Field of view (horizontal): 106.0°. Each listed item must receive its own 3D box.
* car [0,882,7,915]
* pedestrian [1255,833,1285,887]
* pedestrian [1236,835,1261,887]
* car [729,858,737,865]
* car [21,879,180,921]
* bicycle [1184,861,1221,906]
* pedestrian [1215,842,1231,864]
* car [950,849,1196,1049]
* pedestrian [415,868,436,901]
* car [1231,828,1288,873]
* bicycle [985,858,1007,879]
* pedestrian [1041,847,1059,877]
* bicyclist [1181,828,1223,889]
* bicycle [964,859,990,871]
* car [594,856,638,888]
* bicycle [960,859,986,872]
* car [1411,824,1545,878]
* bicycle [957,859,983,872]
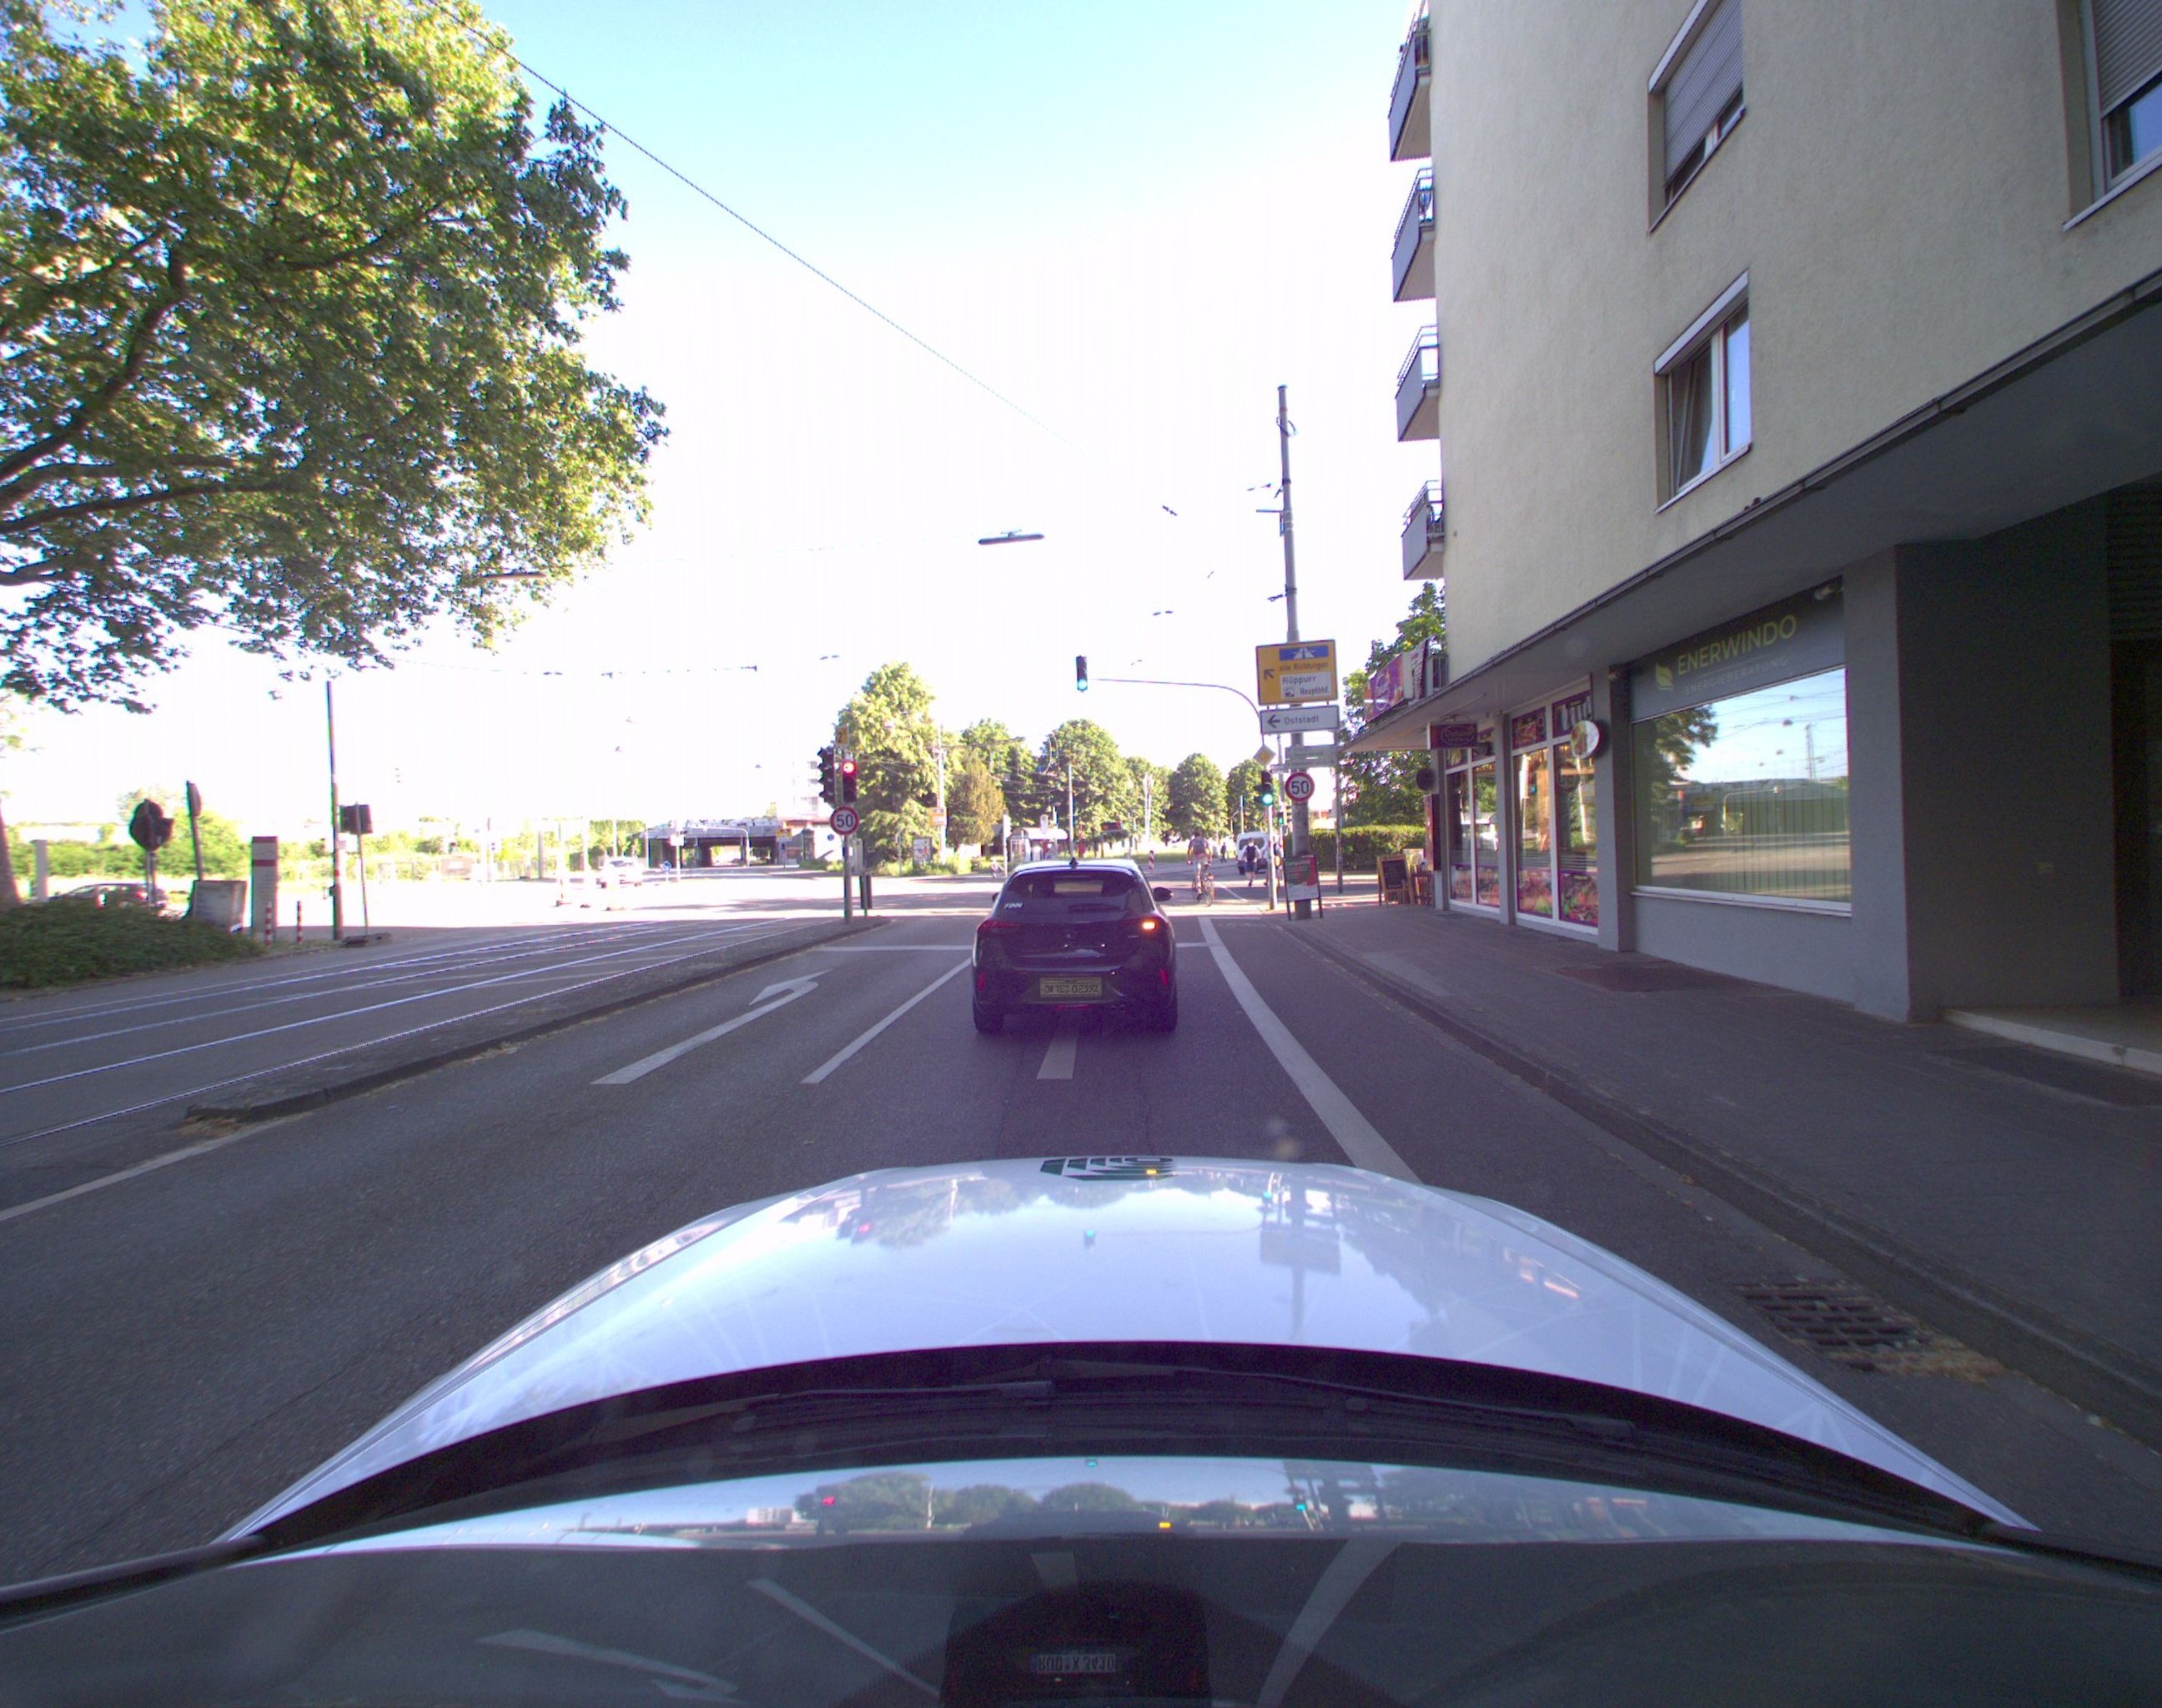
[{"bbox_3d":[-48.680,2.052,34.081,4.006,1.419,1.880,-1,6,-25],"label":"car"},{"bbox_3d":[6.583,0.194,28.386,0.696,1.846,0.705,-2,0,41],"label":"pedestrian"},{"bbox_3d":[5.941,0.234,28.911,0.696,1.792,0.617,-2,0,1],"label":"pedestrian"},{"bbox_3d":[-100.715,2.259,235.651,2.003,2.014,3.967,0,-1,-25],"label":"car"},{"bbox_3d":[-43.340,2.009,36.146,4.006,1.419,1.880,-1,6,-25],"label":"car"},{"bbox_3d":[3.133,0.744,21.179,0.665,1.059,2.083,-2,0,1],"label":"bicycle"},{"bbox_3d":[11.637,-0.059,66.807,0.949,1.793,1.001,-2,0,27],"label":"pedestrian"},{"bbox_3d":[0.042,0.701,8.065,1.793,1.441,3.943,-2,0,3],"label":"car"},{"bbox_3d":[-31.868,1.465,39.599,0.602,1.596,0.679,0,-1,-24],"label":"pedestrian"},{"bbox_3d":[9.801,-0.165,44.380,2.070,2.277,4.331,-1,-1,26],"label":"car"},{"bbox_3d":[-4.712,0.789,45.234,0.821,1.059,1.885,-2,0,4],"label":"bicycle"},{"bbox_3d":[-1.798,0.441,47.029,0.703,1.693,0.721,-2,0,-31],"label":"pedestrian"},{"bbox_3d":[3.109,0.106,21.095,0.837,1.510,1.368,-2,0,0],"label":"bicyclist"},{"bbox_3d":[-8.217,0.890,64.366,1.866,0.906,0.661,-2,0,8],"label":"bicycle"},{"bbox_3d":[-26.368,0.981,46.081,2.007,1.631,4.584,-2,0,-31],"label":"car"},{"bbox_3d":[-8.388,0.897,63.498,1.866,0.906,0.661,-2,0,8],"label":"bicycle"},{"bbox_3d":[14.856,-0.068,30.690,4.150,1.814,1.811,-2,-3,10],"label":"car"},{"bbox_3d":[-8.510,0.893,62.514,1.866,0.906,0.661,-2,0,8],"label":"bicycle"}]
